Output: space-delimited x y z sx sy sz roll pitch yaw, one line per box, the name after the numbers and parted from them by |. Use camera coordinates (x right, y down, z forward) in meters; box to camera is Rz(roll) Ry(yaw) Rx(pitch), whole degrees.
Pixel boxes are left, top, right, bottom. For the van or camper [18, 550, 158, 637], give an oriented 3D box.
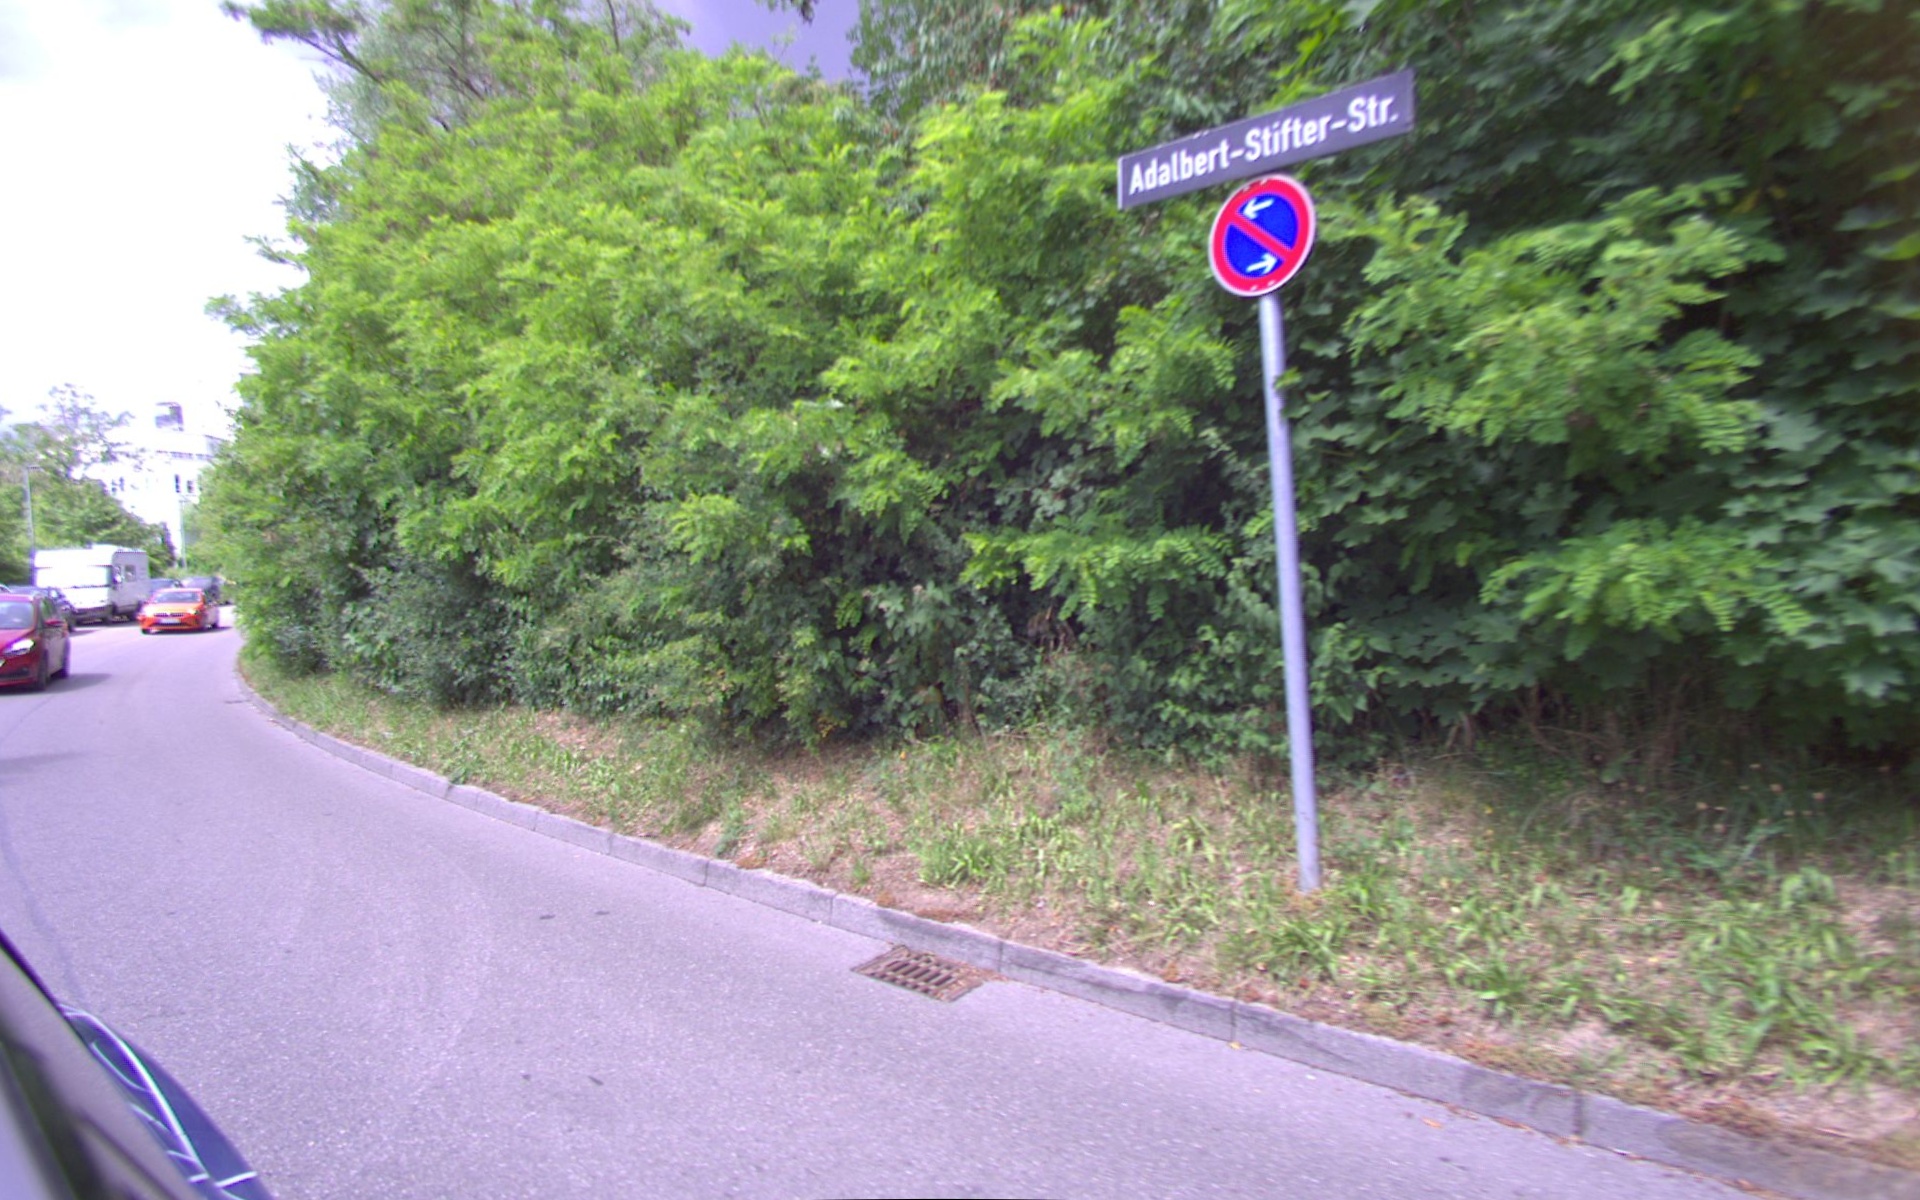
-32.517 -0.349 38.001 2.300 2.890 6.171 -4 3 -26 | van or camper

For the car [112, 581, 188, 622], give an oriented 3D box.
-35.521 0.022 44.478 1.704 1.530 3.903 -2 4 -26 | car

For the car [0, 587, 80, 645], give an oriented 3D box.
-29.392 0.461 31.879 1.687 1.603 4.013 -4 4 -30 | car

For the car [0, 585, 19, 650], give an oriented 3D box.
-25.935 0.533 25.757 1.846 1.701 4.593 -4 3 -30 | car

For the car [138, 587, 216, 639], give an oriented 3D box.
-26.516 0.386 34.372 1.833 1.453 4.010 -5 5 -35 | car

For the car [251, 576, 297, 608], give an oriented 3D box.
-36.687 -0.465 54.194 1.752 1.462 4.012 -4 5 -31 | car

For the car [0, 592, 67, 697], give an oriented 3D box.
-16.753 0.687 17.388 1.784 1.621 3.731 2 0 -37 | car
